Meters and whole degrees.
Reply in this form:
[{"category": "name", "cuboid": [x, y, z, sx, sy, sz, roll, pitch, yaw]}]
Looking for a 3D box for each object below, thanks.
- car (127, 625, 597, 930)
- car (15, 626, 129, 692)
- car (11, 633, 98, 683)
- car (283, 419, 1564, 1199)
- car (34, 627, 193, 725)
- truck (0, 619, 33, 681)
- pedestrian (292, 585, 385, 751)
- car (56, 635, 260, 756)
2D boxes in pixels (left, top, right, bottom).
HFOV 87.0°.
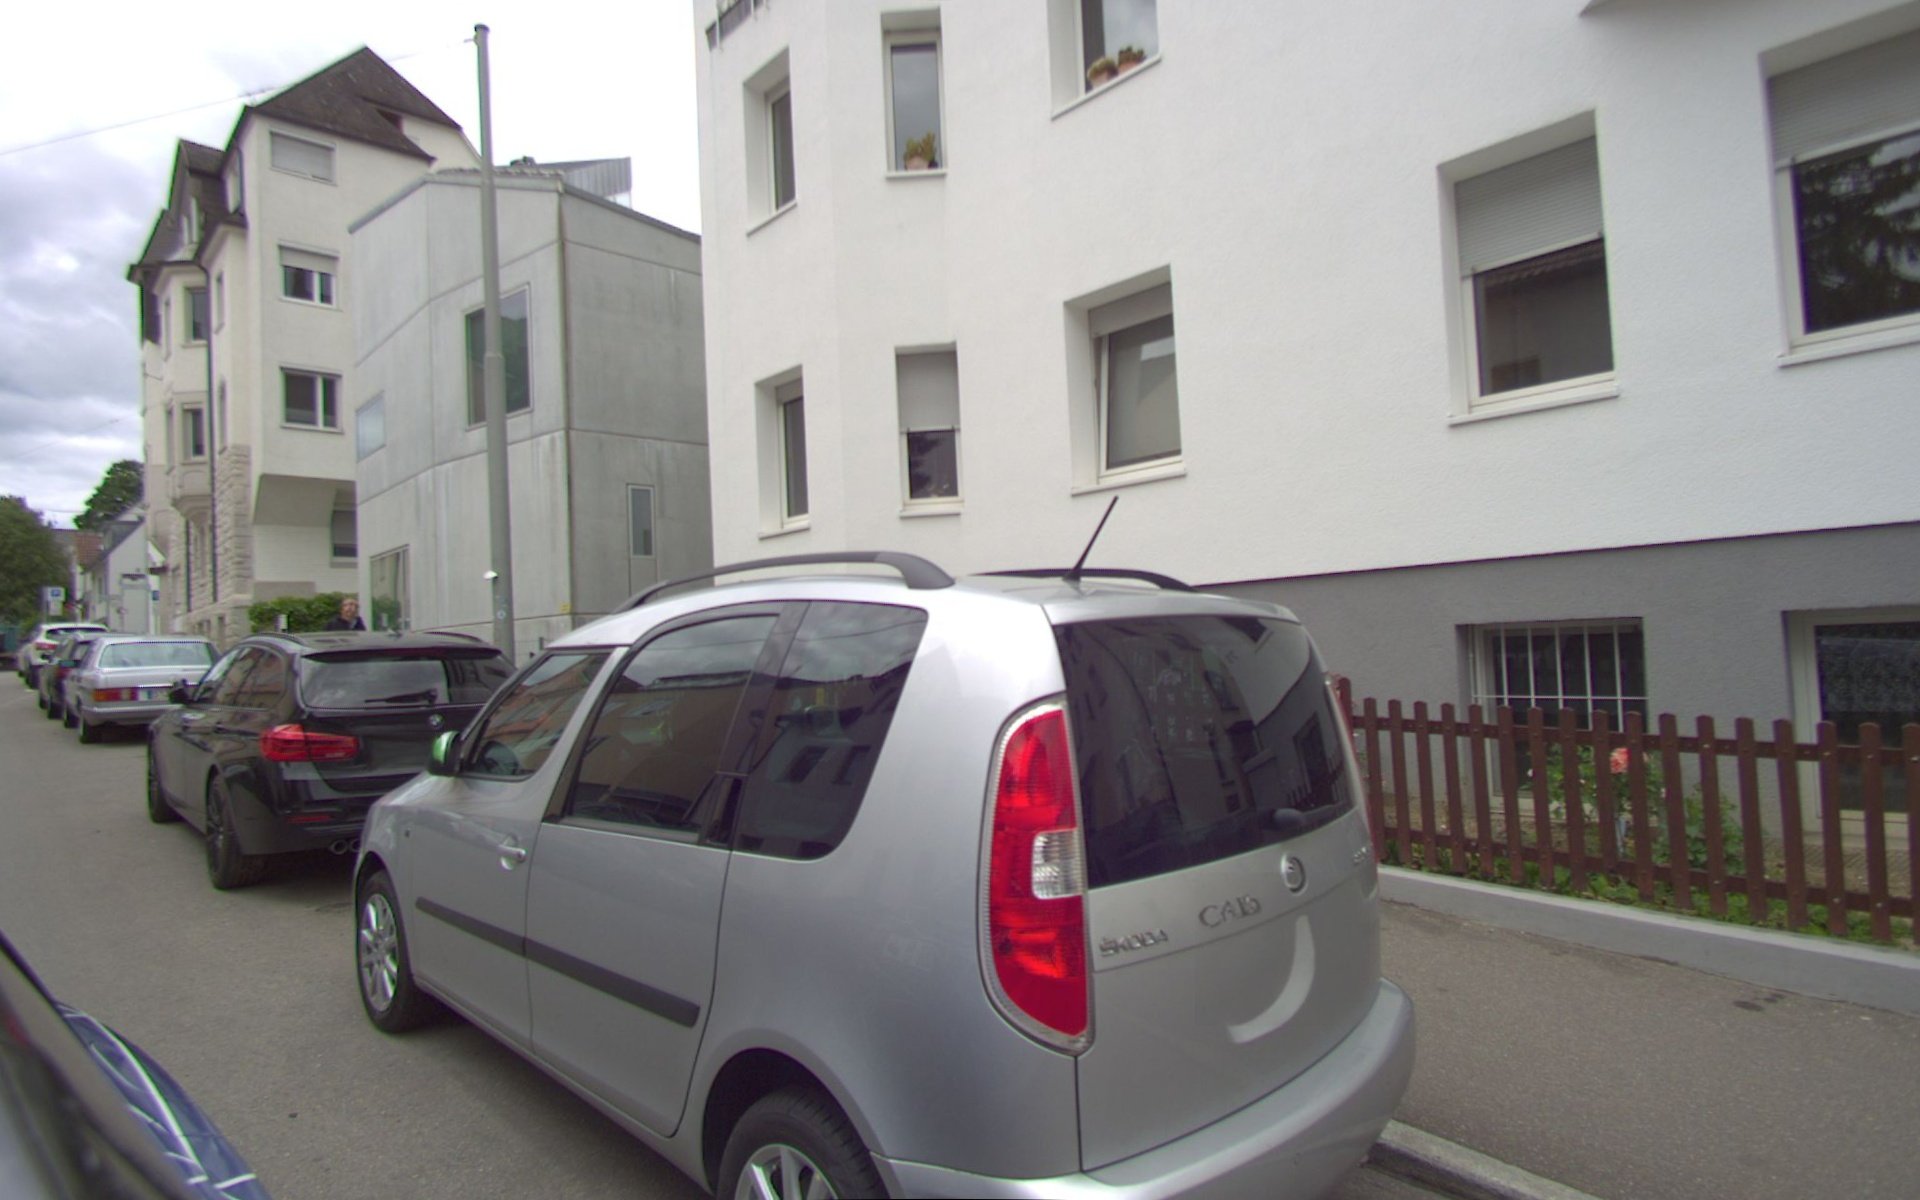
[{"category": "car", "cuboid": [-4.448, 0.926, 7.154, 1.823, 1.468, 4.507, 2, -2, -44]}, {"category": "car", "cuboid": [-22.930, 1.491, 26.081, 4.241, 1.527, 1.824, -3, -2, 43]}, {"category": "car", "cuboid": [-28.178, 1.787, 31.448, 4.241, 1.425, 1.680, -3, -2, 44]}, {"category": "car", "cuboid": [-0.651, 0.675, 3.408, 4.287, 1.643, 1.824, -3, -2, 43]}, {"category": "car", "cuboid": [-15.563, 1.287, 18.518, 1.874, 1.539, 4.473, 1, -1, -44]}, {"category": "truck", "cuboid": [-43.736, 2.334, 45.737, 6.289, 2.571, 2.284, -6, -6, 44]}, {"category": "pedestrian", "cuboid": [-7.409, 0.788, 12.108, 0.805, 1.899, 0.850, 0, -2, -22]}, {"category": "car", "cuboid": [-11.857, 1.252, 14.815, 1.823, 1.424, 5.065, 1, -2, -44]}]
